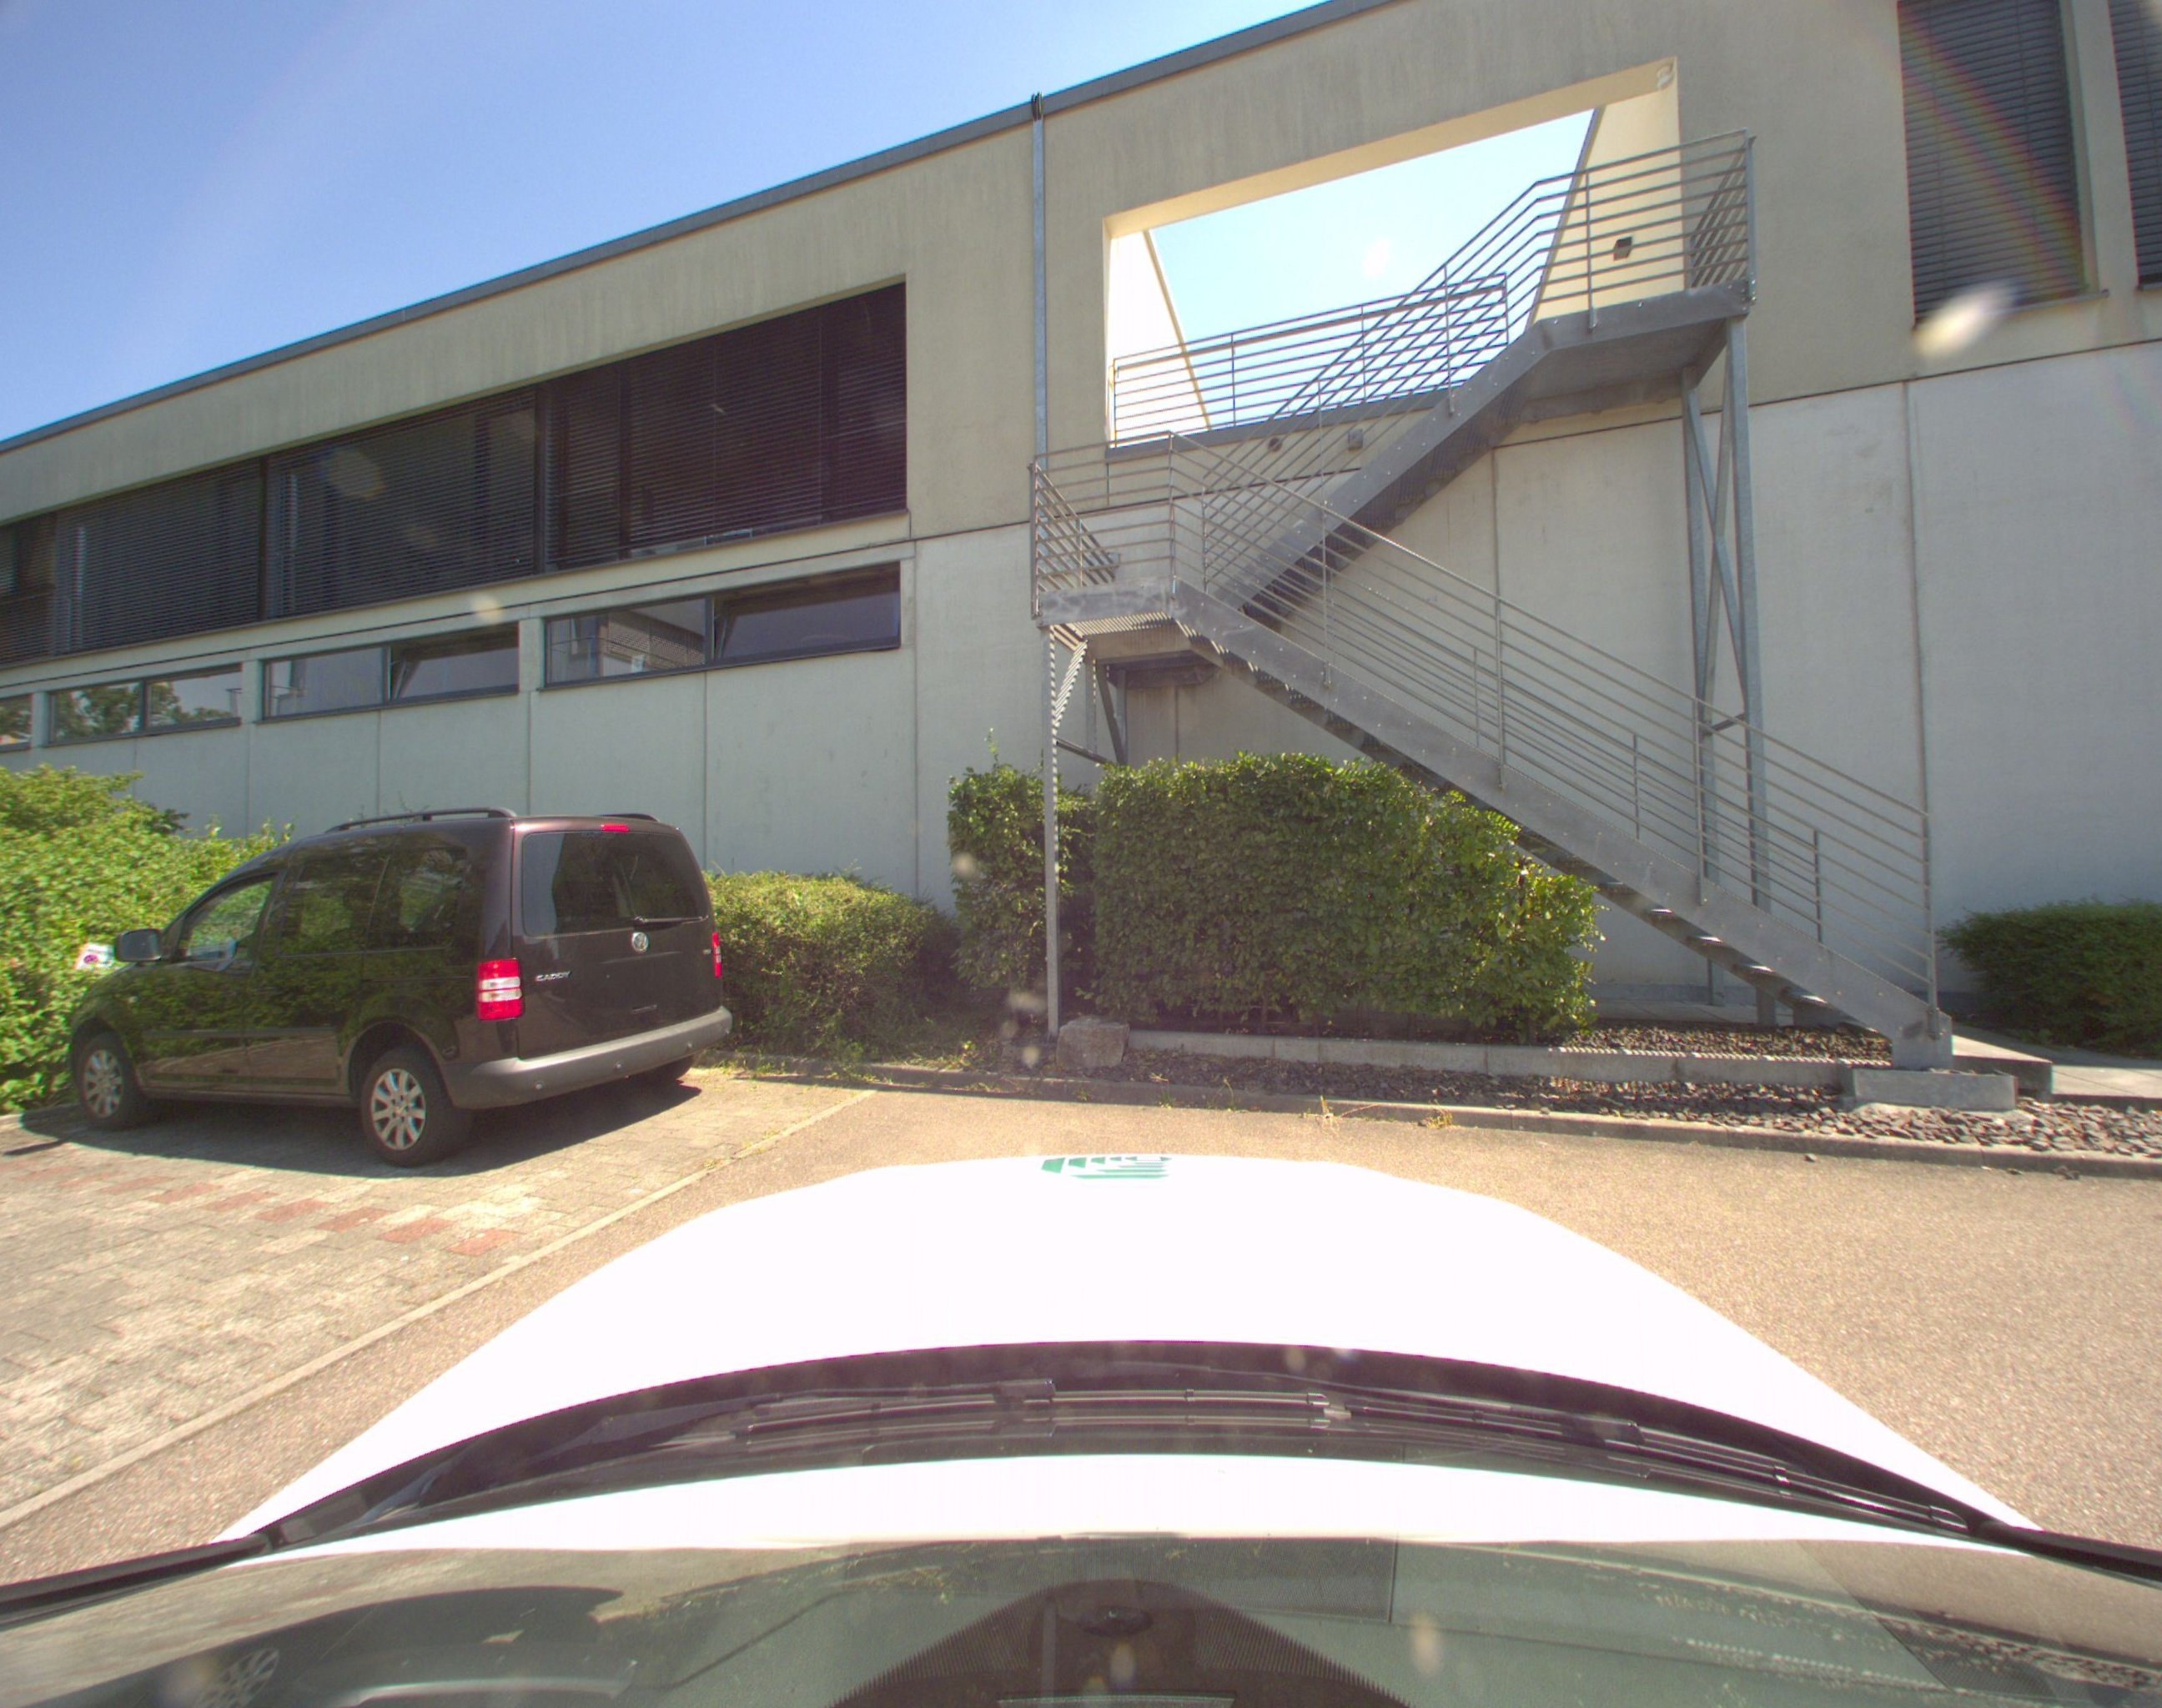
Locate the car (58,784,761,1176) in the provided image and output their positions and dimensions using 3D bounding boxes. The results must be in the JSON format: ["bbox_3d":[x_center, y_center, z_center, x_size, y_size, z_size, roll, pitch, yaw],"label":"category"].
[{"bbox_3d":[-4.365,0.651,5.369,4.025,1.884,1.687,-1,-1,19],"label":"car"}]
